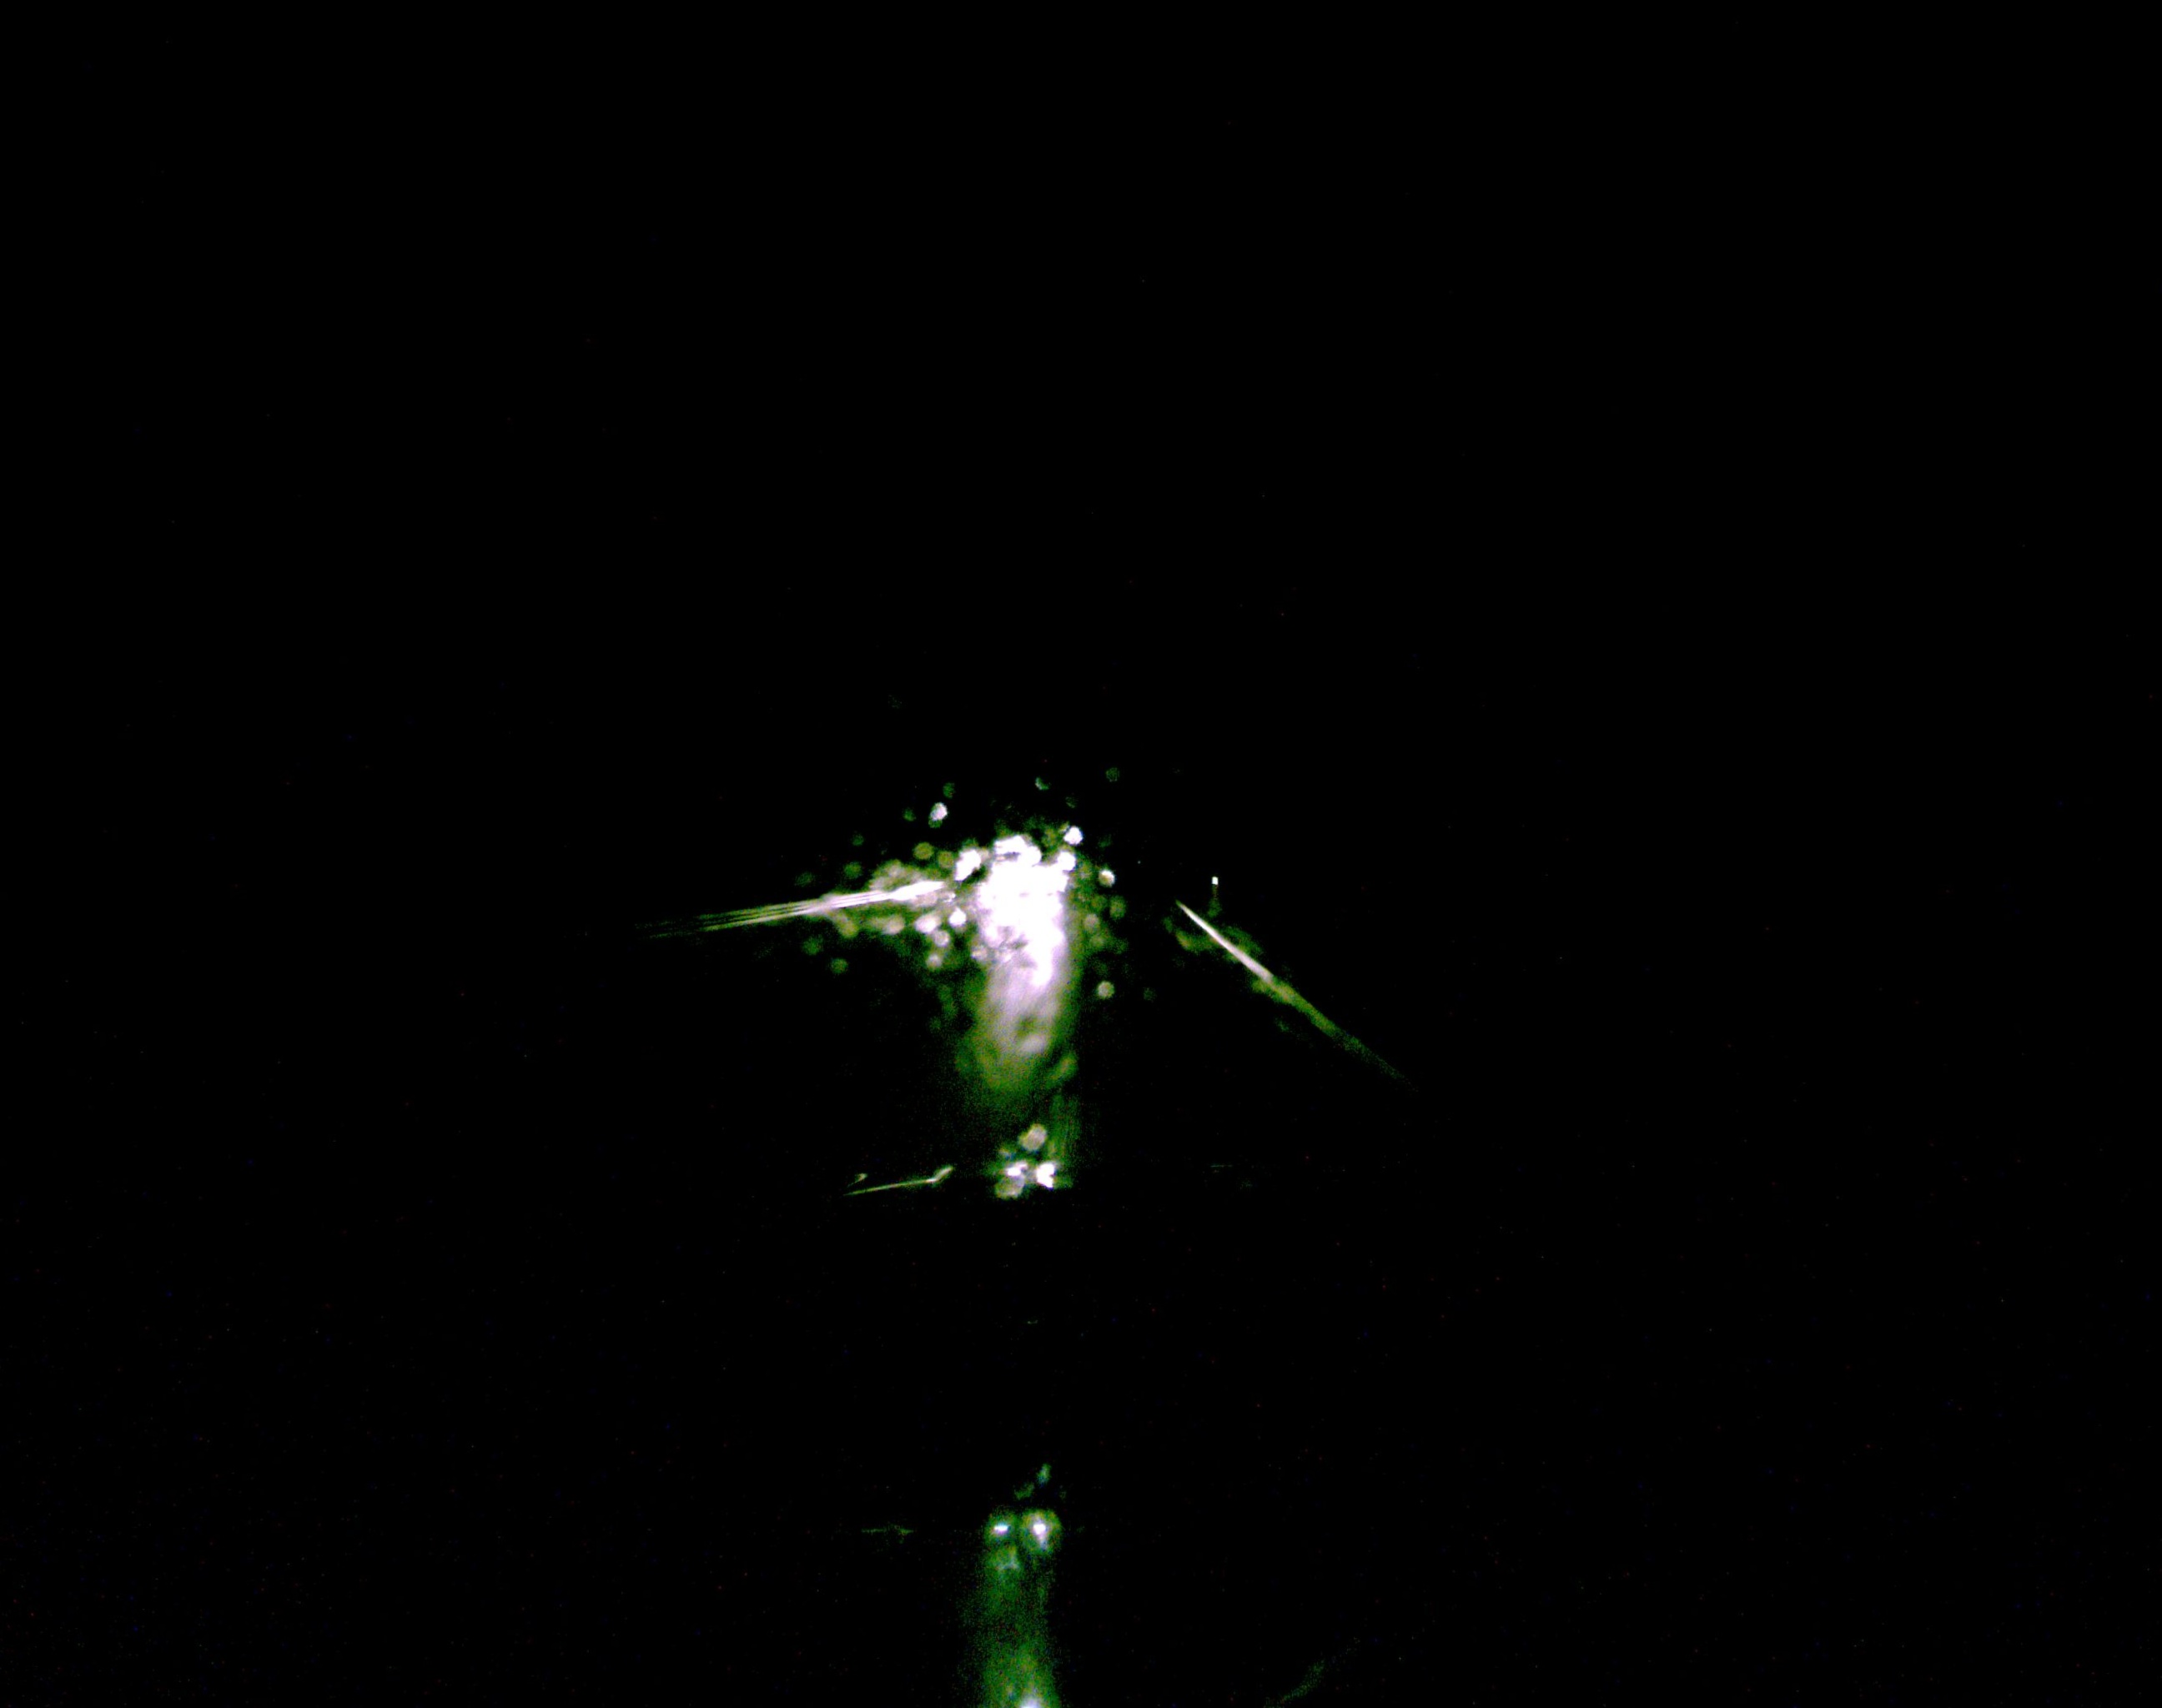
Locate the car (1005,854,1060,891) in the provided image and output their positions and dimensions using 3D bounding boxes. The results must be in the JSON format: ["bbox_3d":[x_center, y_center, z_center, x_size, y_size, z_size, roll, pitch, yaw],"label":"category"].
[{"bbox_3d":[-2.030,0.755,35.383,1.910,1.464,4.262,-1,0,3],"label":"car"}]
